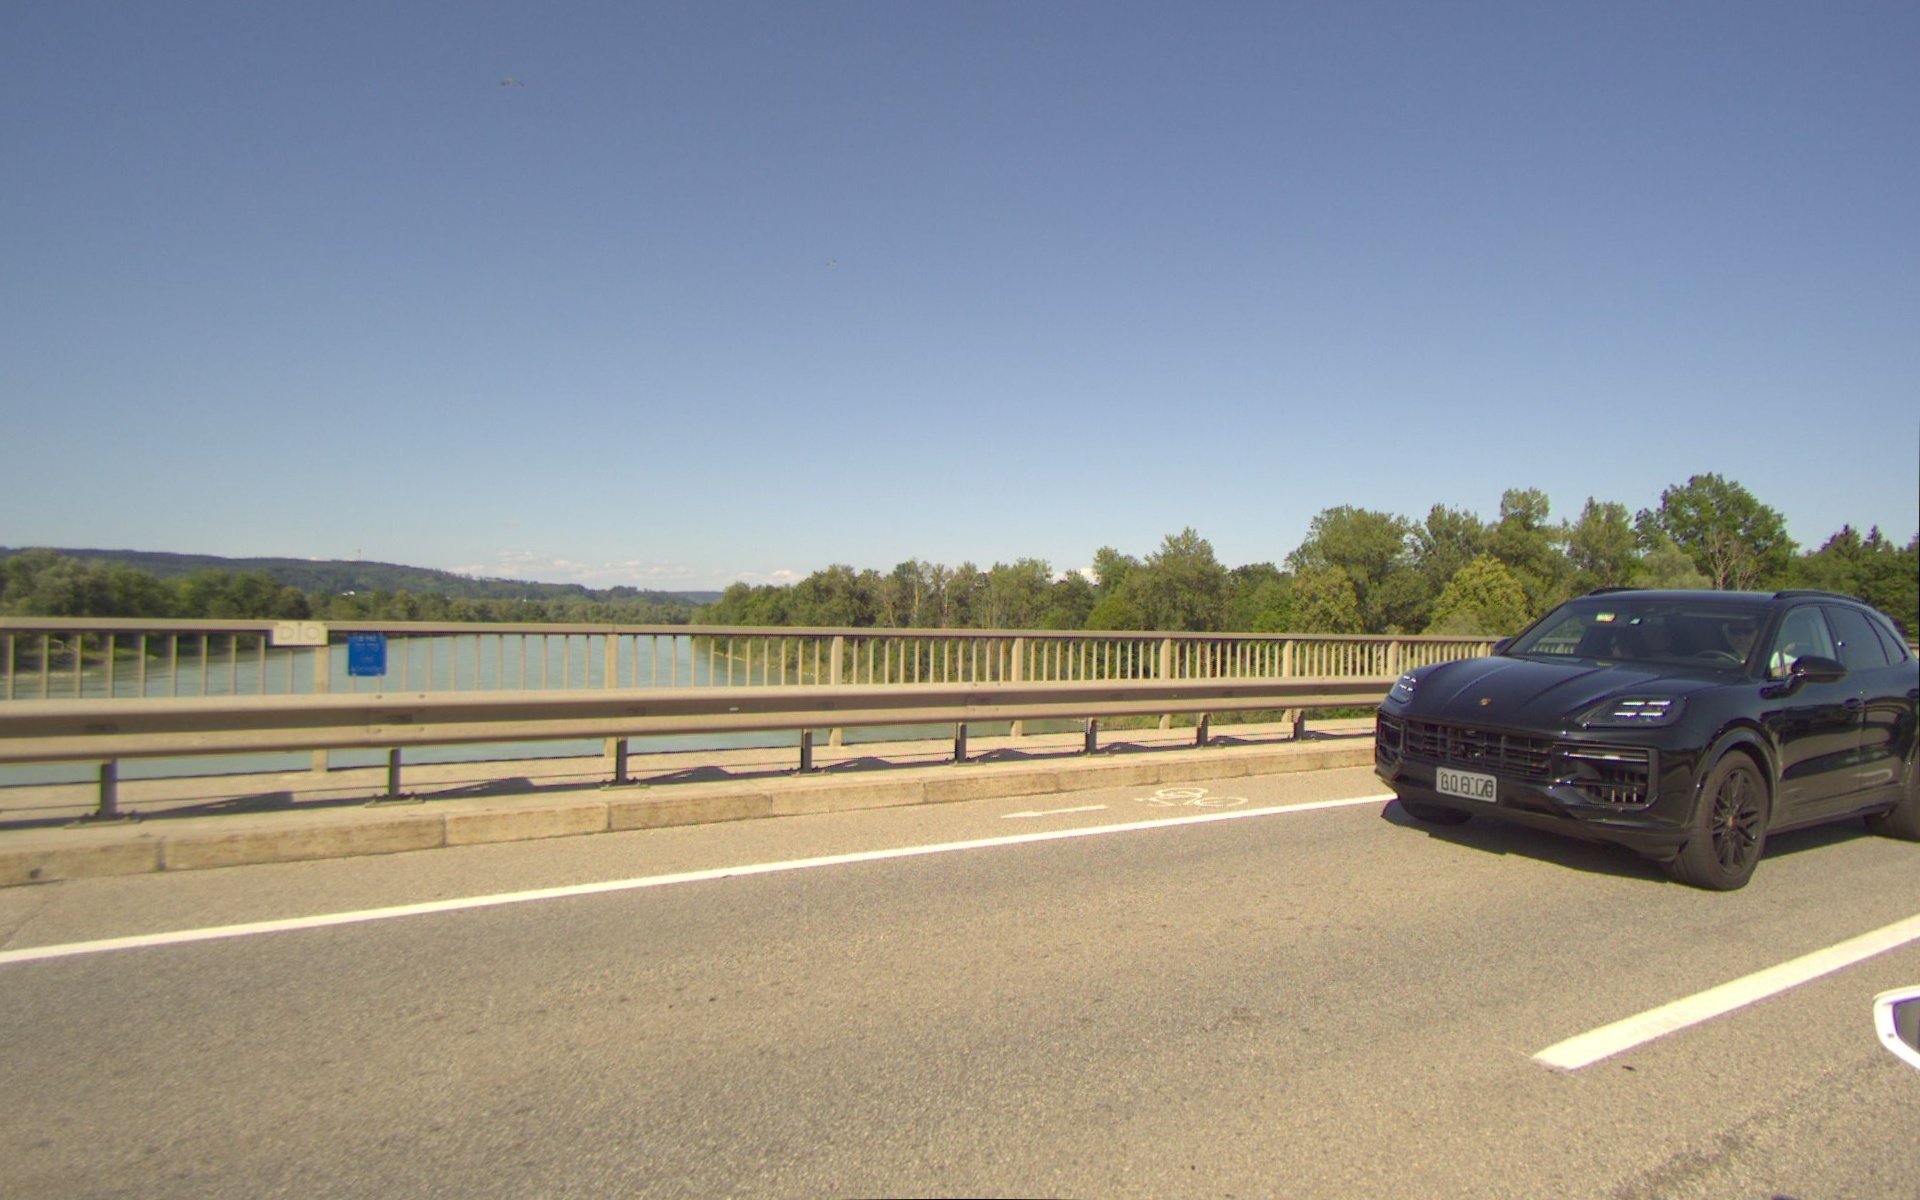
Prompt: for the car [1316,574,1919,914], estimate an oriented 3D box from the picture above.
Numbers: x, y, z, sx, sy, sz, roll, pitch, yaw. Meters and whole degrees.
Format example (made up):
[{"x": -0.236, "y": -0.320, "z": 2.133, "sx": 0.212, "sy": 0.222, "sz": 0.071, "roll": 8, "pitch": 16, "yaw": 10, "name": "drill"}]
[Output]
[{"x": 4.926, "y": 0.756, "z": 6.997, "sx": 4.665, "sy": 1.675, "sz": 2.044, "roll": 2, "pitch": 0, "yaw": -30, "name": "car"}]
